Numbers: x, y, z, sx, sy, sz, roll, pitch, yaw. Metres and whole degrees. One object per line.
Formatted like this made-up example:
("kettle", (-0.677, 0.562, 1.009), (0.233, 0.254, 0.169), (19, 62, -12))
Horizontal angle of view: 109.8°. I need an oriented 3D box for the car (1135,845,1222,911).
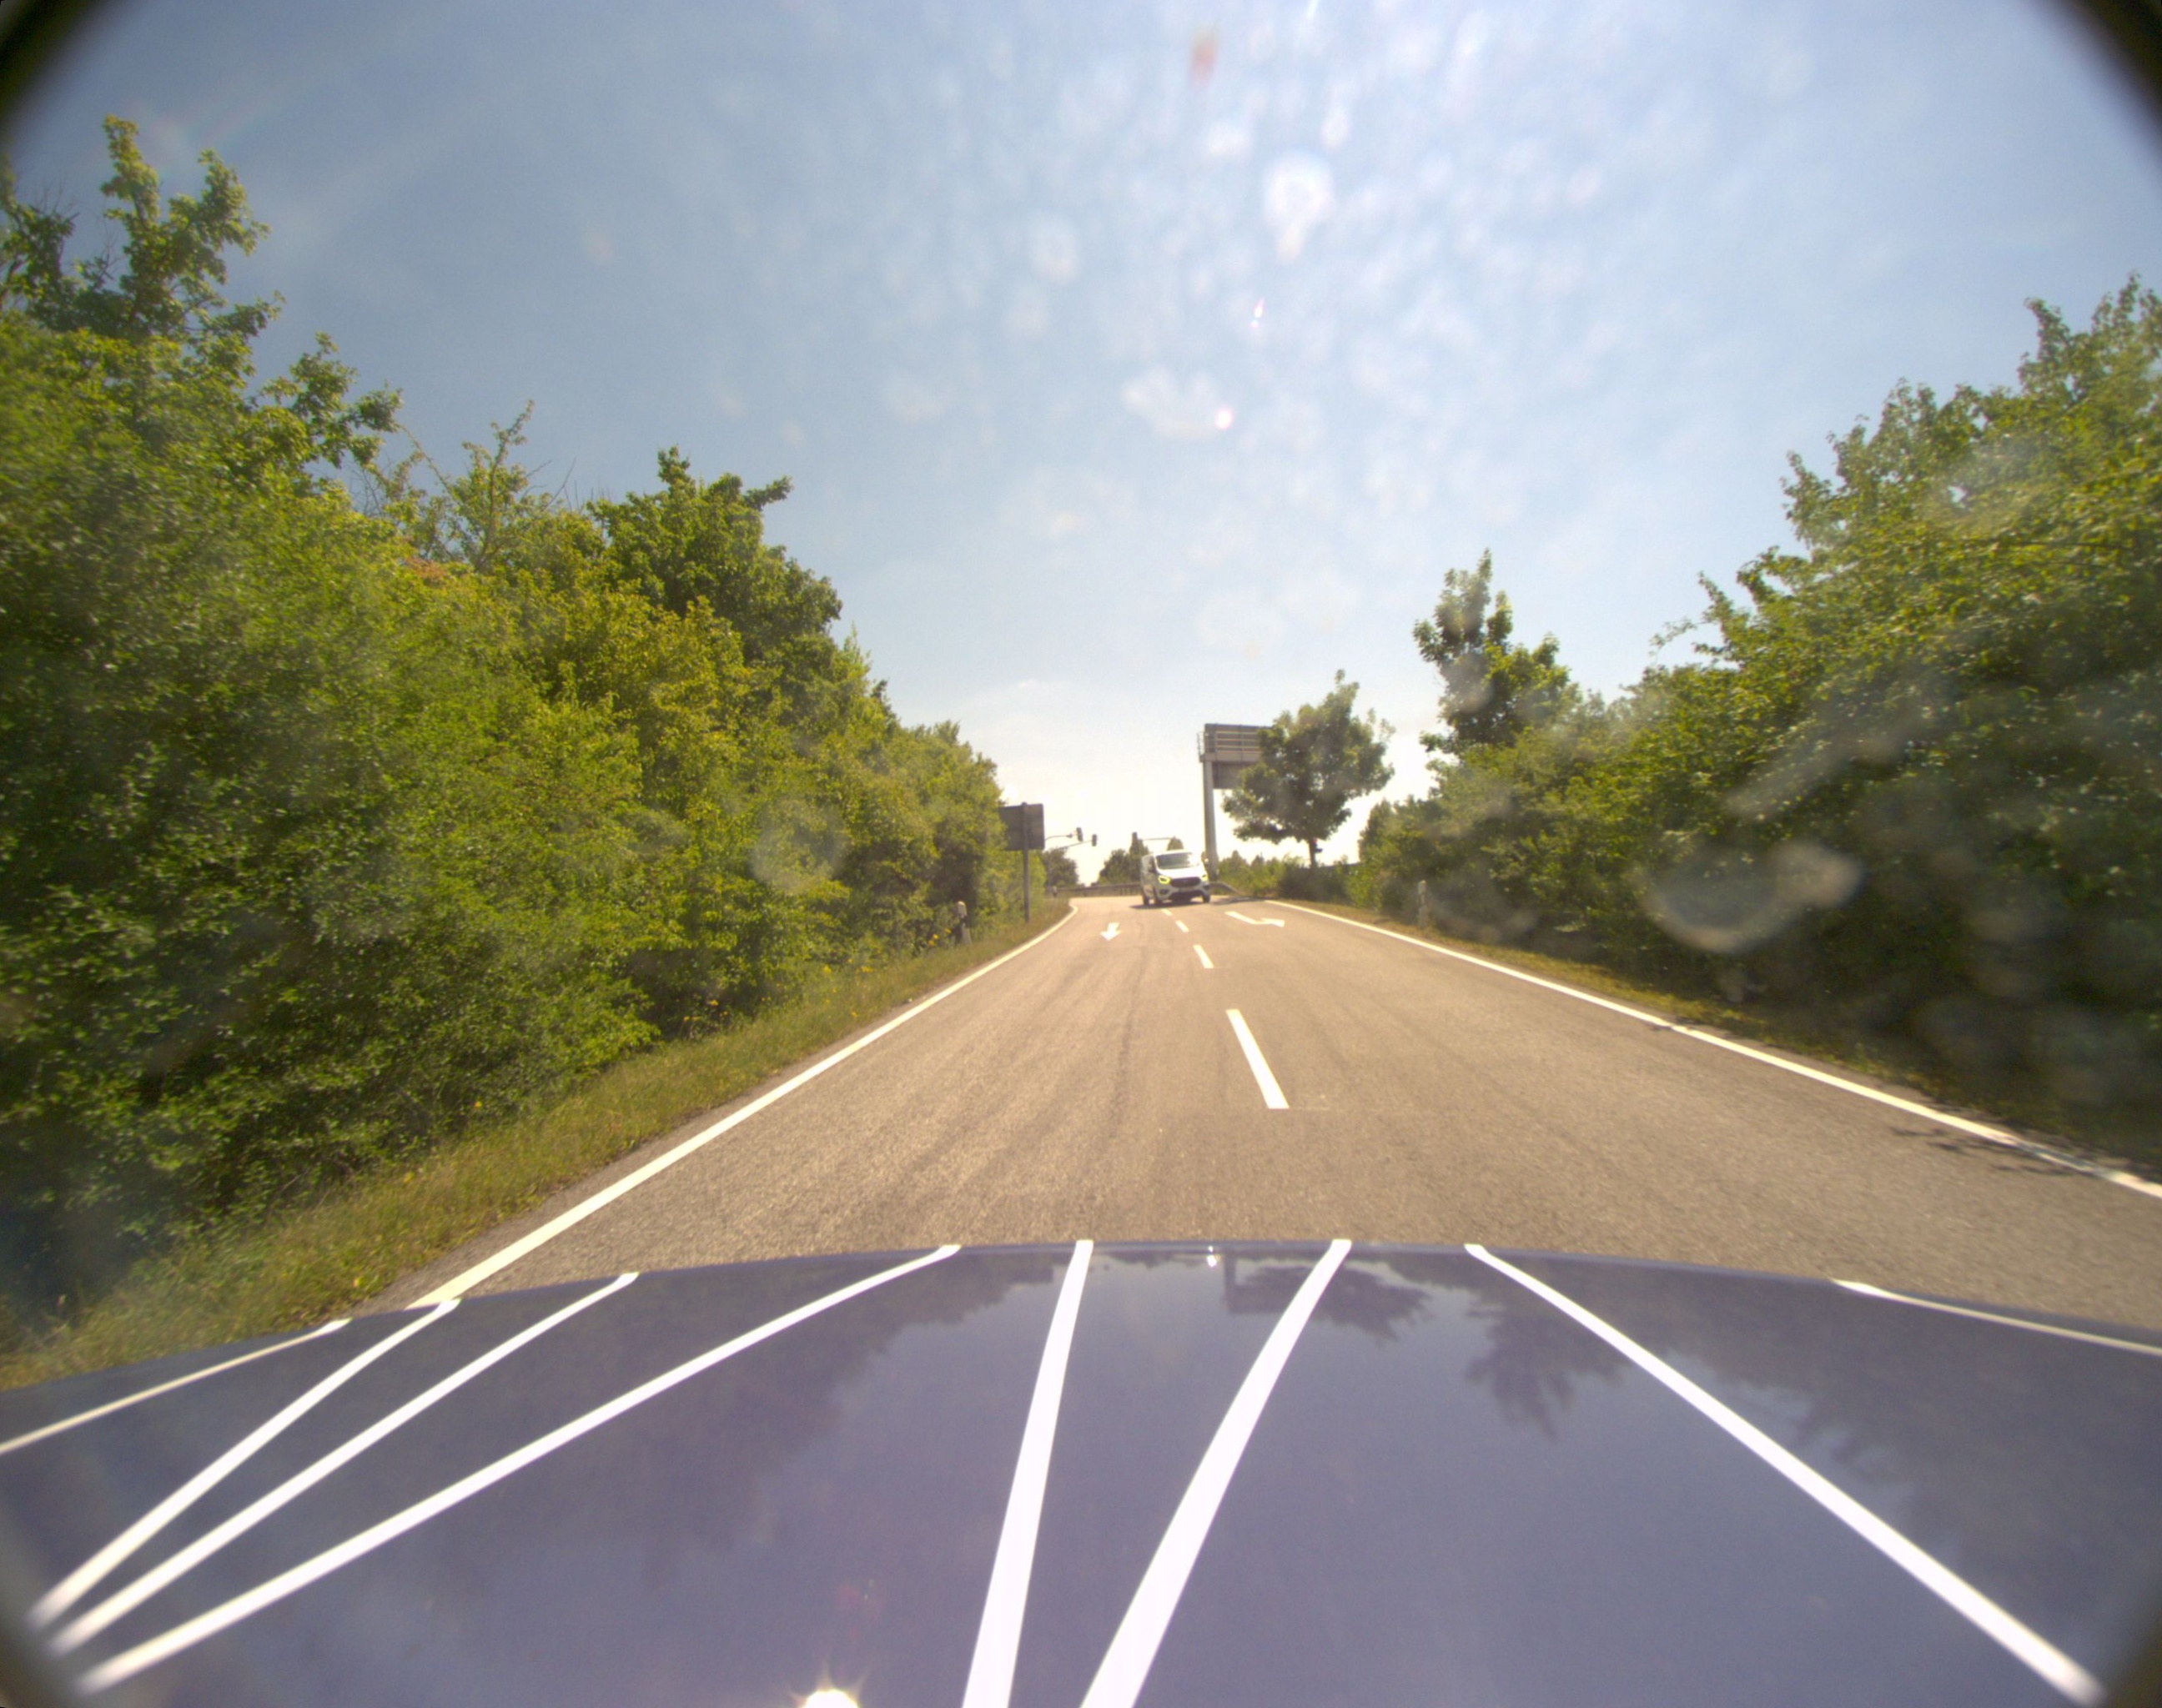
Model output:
("car", (3.485, 0.881, 28.544), (2.031, 2.072, 5.871), (-5, -1, -4))
